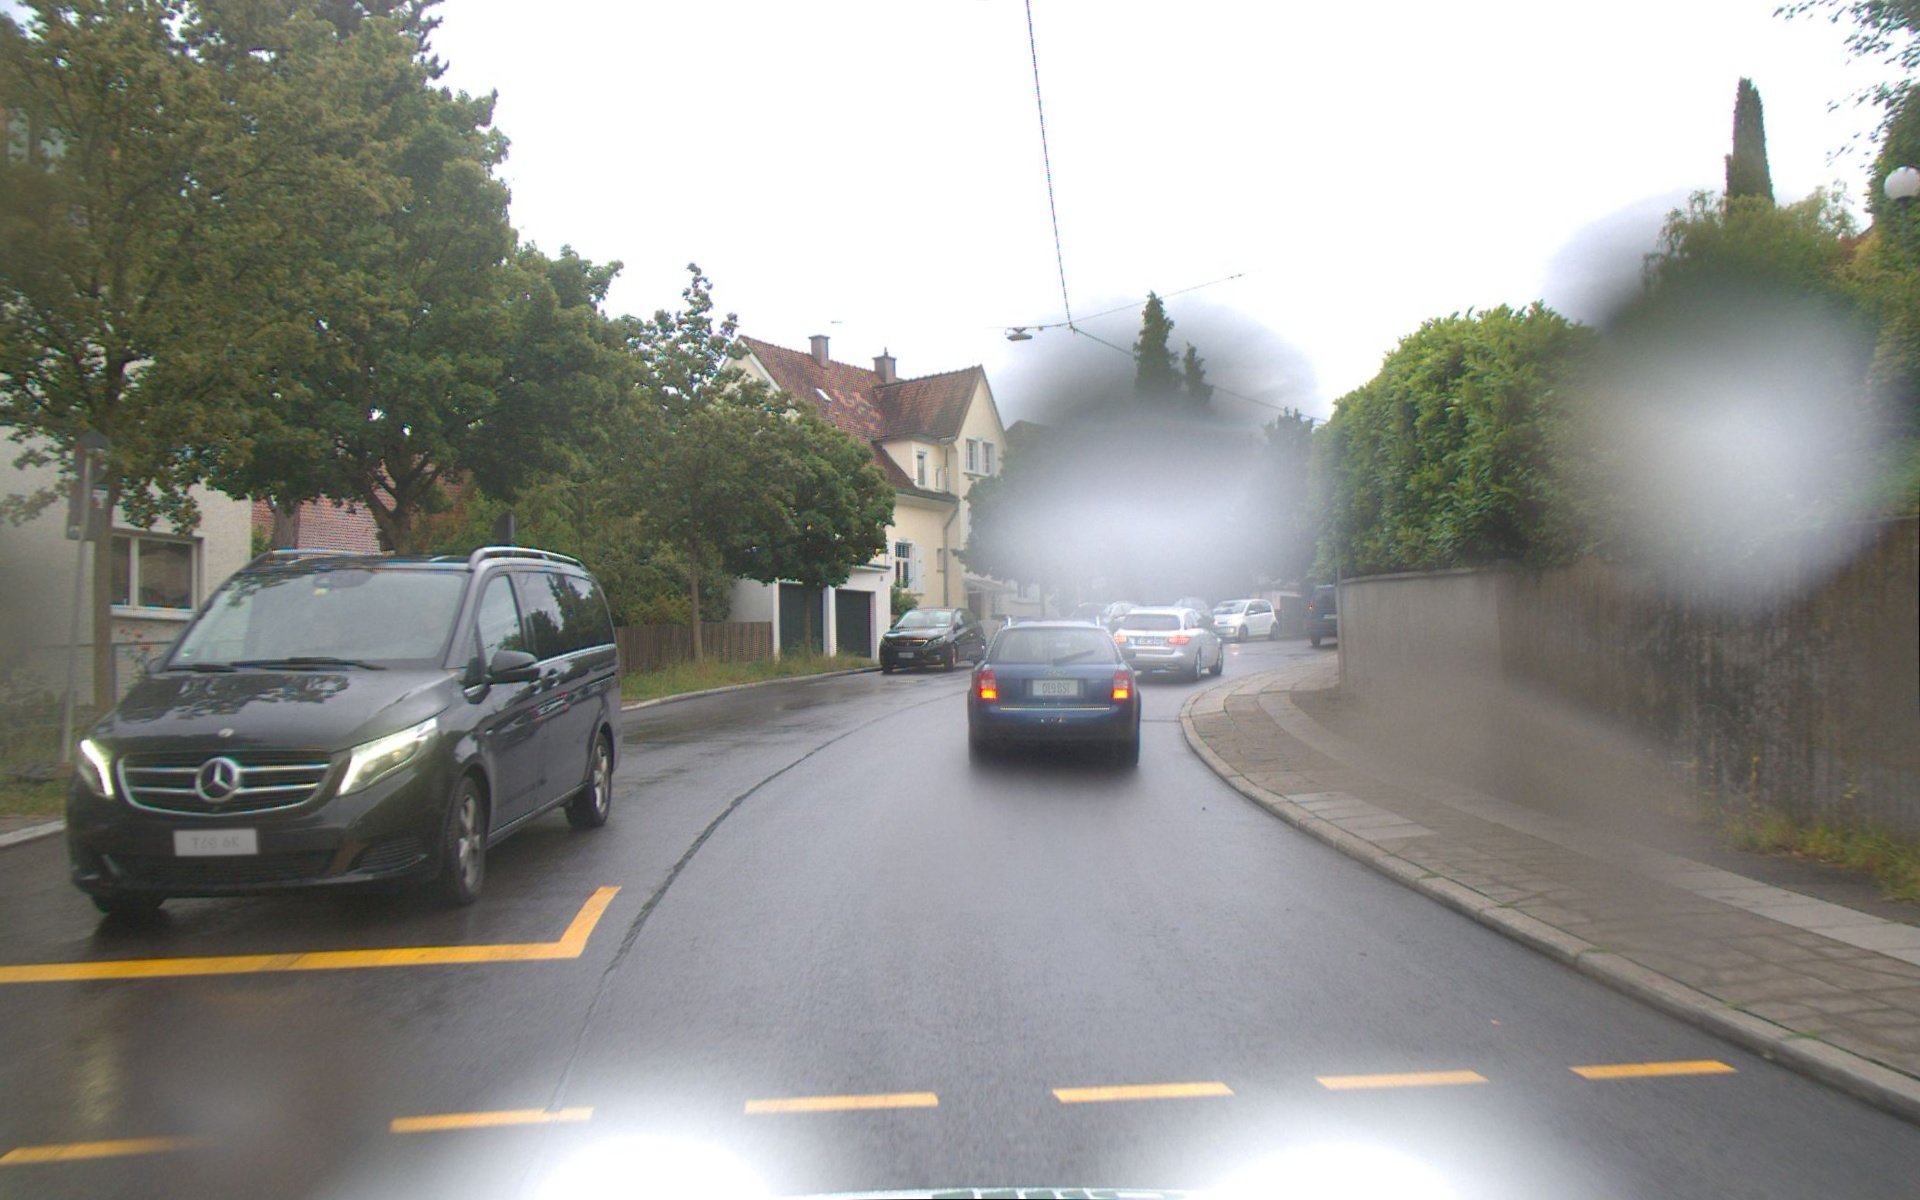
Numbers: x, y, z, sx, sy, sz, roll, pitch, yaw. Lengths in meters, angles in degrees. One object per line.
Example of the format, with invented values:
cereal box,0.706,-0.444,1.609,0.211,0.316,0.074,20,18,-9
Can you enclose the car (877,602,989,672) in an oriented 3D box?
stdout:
car,-0.590,0.844,39.487,1.634,1.491,3.898,-3,-1,15

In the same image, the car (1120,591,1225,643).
car,7.012,0.550,54.279,1.703,1.572,4.196,-2,-1,34

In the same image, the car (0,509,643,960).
car,-3.364,0.608,9.967,1.858,1.922,5.152,-3,0,0

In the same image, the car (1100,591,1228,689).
car,4.349,0.790,34.630,1.934,1.663,4.239,-3,2,16

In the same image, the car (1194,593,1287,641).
car,9.947,0.588,58.489,1.703,1.492,3.987,-2,0,34

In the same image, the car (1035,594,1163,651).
car,4.278,0.642,50.095,1.833,1.572,4.893,-2,0,32

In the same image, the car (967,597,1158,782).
car,0.998,0.830,17.387,1.698,1.492,4.002,-3,2,1

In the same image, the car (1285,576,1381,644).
car,11.631,0.286,51.393,1.701,1.799,4.229,-2,2,29
